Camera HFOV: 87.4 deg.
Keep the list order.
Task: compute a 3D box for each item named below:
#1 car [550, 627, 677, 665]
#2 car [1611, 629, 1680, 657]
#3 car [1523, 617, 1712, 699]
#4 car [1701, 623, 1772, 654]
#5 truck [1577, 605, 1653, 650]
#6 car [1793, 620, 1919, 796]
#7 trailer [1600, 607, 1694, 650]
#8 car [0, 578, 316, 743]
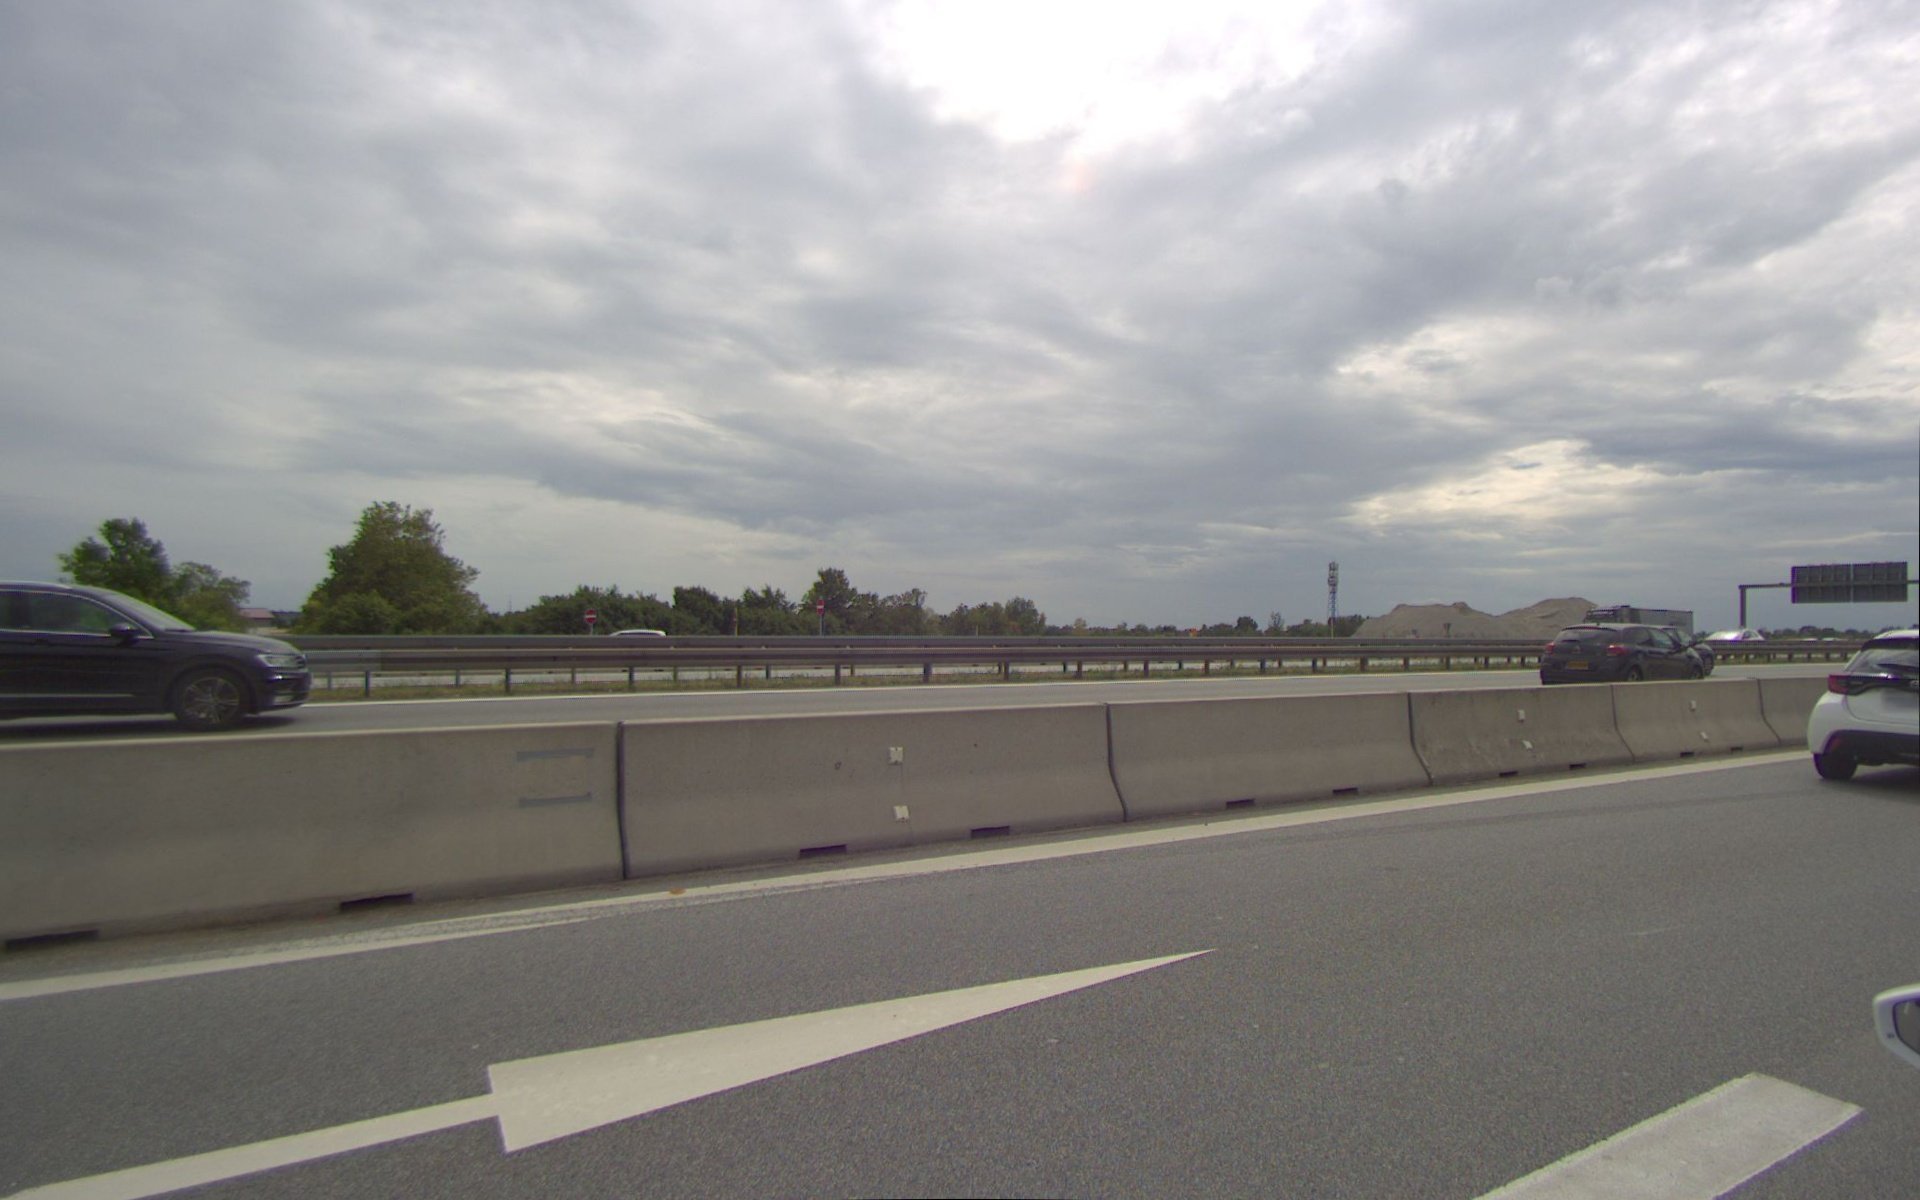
[{"bbox_3d":[-12.216,1.604,35.459,3.961,1.208,1.677,1,-1,-33],"label":"car"},{"bbox_3d":[37.068,2.314,54.270,3.961,1.488,1.678,1,-2,-33],"label":"car"},{"bbox_3d":[13.786,1.167,21.009,3.953,1.550,1.765,1,-1,-31],"label":"car"},{"bbox_3d":[39.876,1.981,51.567,3.961,1.488,1.677,1,0,-33],"label":"car"},{"bbox_3d":[51.935,2.180,79.634,5.565,3.374,3.130,1,0,-35],"label":"truck"},{"bbox_3d":[10.010,0.988,9.818,3.795,1.528,1.693,1,-1,-30],"label":"car"},{"bbox_3d":[56.864,2.346,83.070,9.724,3.313,3.177,1,-1,-35],"label":"trailer"},{"bbox_3d":[-9.733,0.617,11.198,4.184,1.660,1.892,1,0,-31],"label":"car"}]
